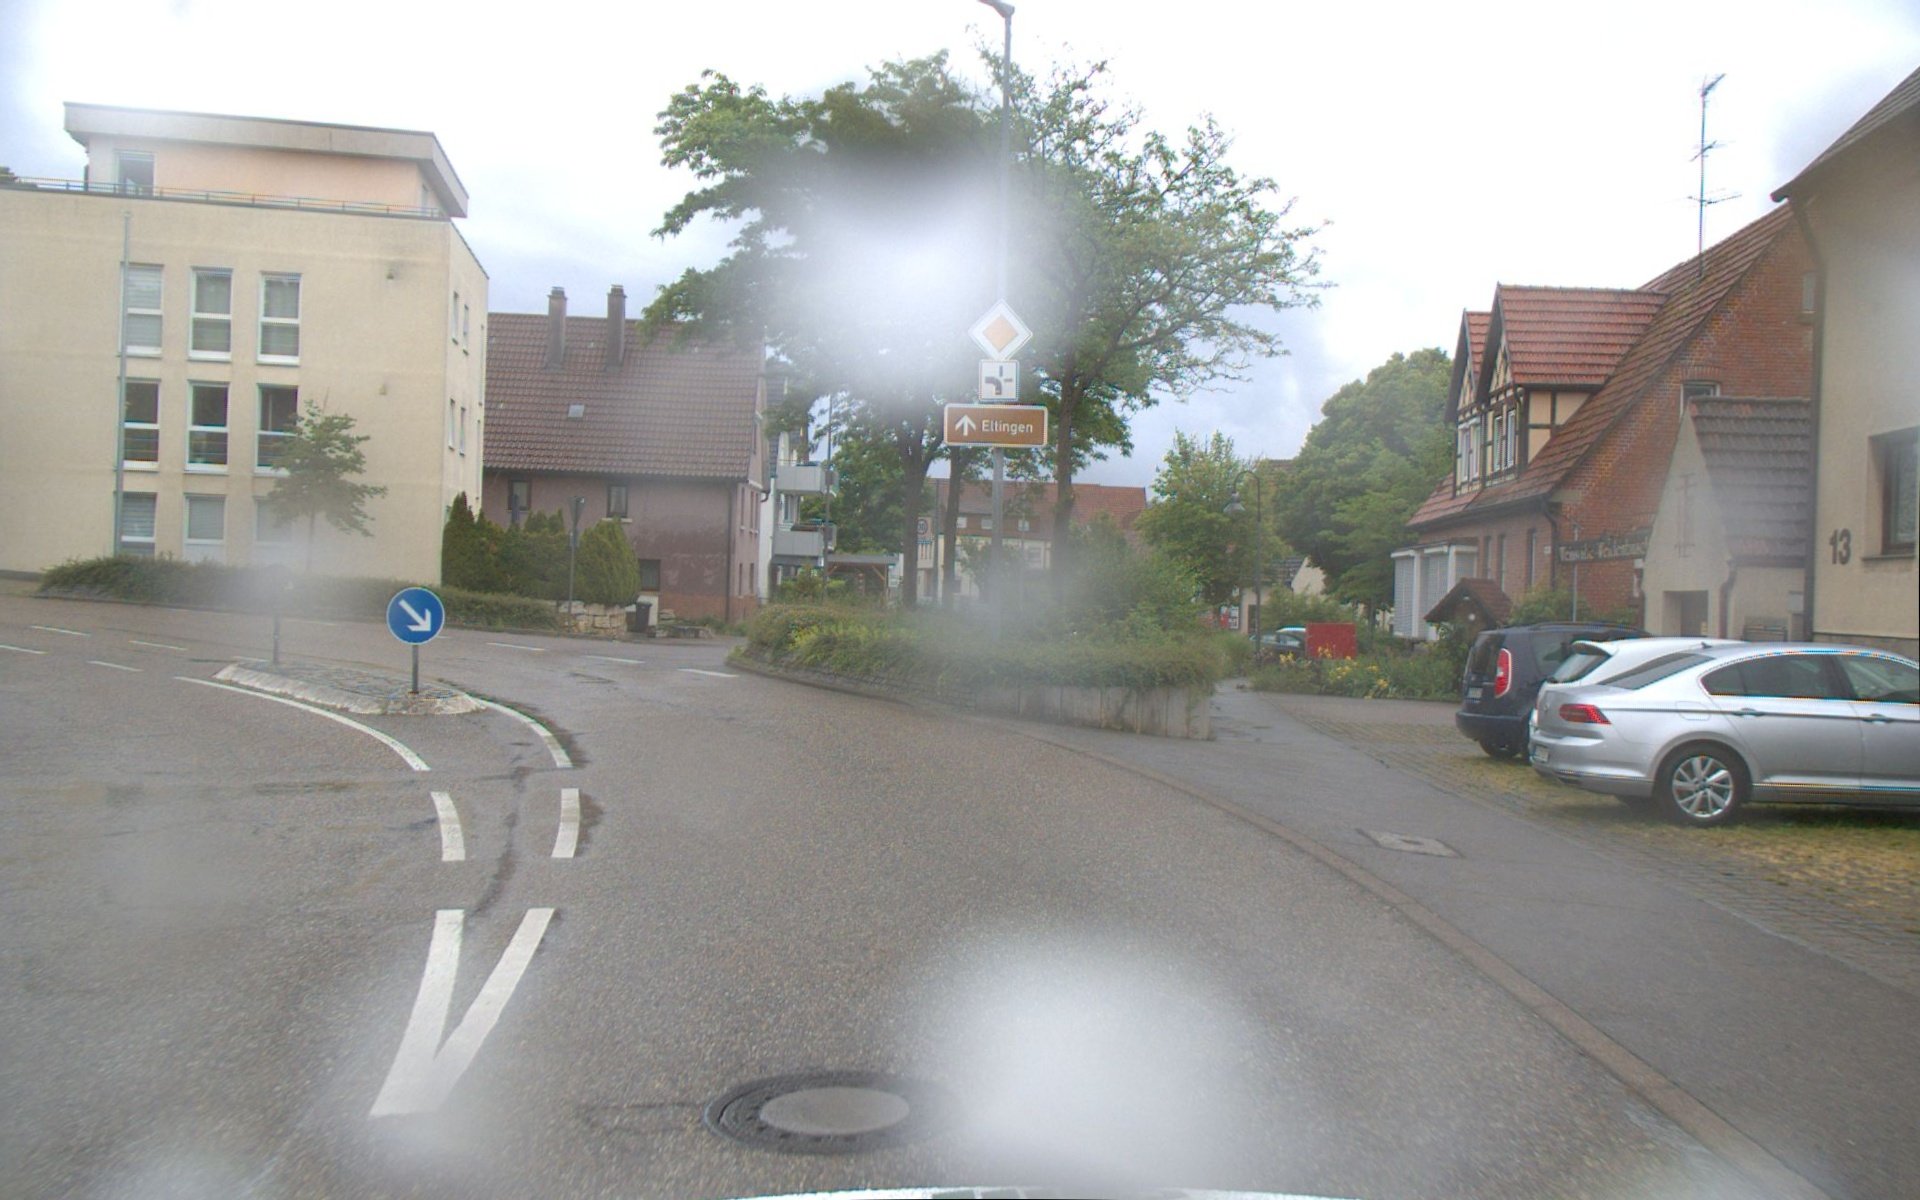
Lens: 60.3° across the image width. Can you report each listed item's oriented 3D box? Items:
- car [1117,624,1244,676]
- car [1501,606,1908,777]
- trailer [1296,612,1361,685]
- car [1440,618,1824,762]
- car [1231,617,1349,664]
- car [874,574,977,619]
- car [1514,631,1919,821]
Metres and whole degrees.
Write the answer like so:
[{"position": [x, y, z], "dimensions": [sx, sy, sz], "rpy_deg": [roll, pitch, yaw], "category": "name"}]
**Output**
[{"position": [6.622, 1.501, 49.833], "dimensions": [3.688, 1.361, 1.715], "rpy_deg": [2, 0, 6], "category": "car"}, {"position": [7.521, 0.933, 16.977], "dimensions": [3.349, 1.556, 1.719], "rpy_deg": [-2, -3, 3], "category": "car"}, {"position": [9.272, 1.187, 41.753], "dimensions": [1.378, 1.678, 2.727], "rpy_deg": [4, 0, 10], "category": "trailer"}, {"position": [7.961, 1.053, 19.847], "dimensions": [3.905, 1.610, 1.748], "rpy_deg": [1, -1, -1], "category": "car"}, {"position": [13.671, 1.661, 68.485], "dimensions": [4.382, 1.579, 1.998], "rpy_deg": [4, 0, 26], "category": "car"}, {"position": [-1.355, -0.146, 64.998], "dimensions": [3.907, 1.482, 1.946], "rpy_deg": [4, 0, -2], "category": "car"}, {"position": [7.176, 1.006, 13.838], "dimensions": [4.514, 1.440, 1.822], "rpy_deg": [-1, -1, 7], "category": "car"}]
